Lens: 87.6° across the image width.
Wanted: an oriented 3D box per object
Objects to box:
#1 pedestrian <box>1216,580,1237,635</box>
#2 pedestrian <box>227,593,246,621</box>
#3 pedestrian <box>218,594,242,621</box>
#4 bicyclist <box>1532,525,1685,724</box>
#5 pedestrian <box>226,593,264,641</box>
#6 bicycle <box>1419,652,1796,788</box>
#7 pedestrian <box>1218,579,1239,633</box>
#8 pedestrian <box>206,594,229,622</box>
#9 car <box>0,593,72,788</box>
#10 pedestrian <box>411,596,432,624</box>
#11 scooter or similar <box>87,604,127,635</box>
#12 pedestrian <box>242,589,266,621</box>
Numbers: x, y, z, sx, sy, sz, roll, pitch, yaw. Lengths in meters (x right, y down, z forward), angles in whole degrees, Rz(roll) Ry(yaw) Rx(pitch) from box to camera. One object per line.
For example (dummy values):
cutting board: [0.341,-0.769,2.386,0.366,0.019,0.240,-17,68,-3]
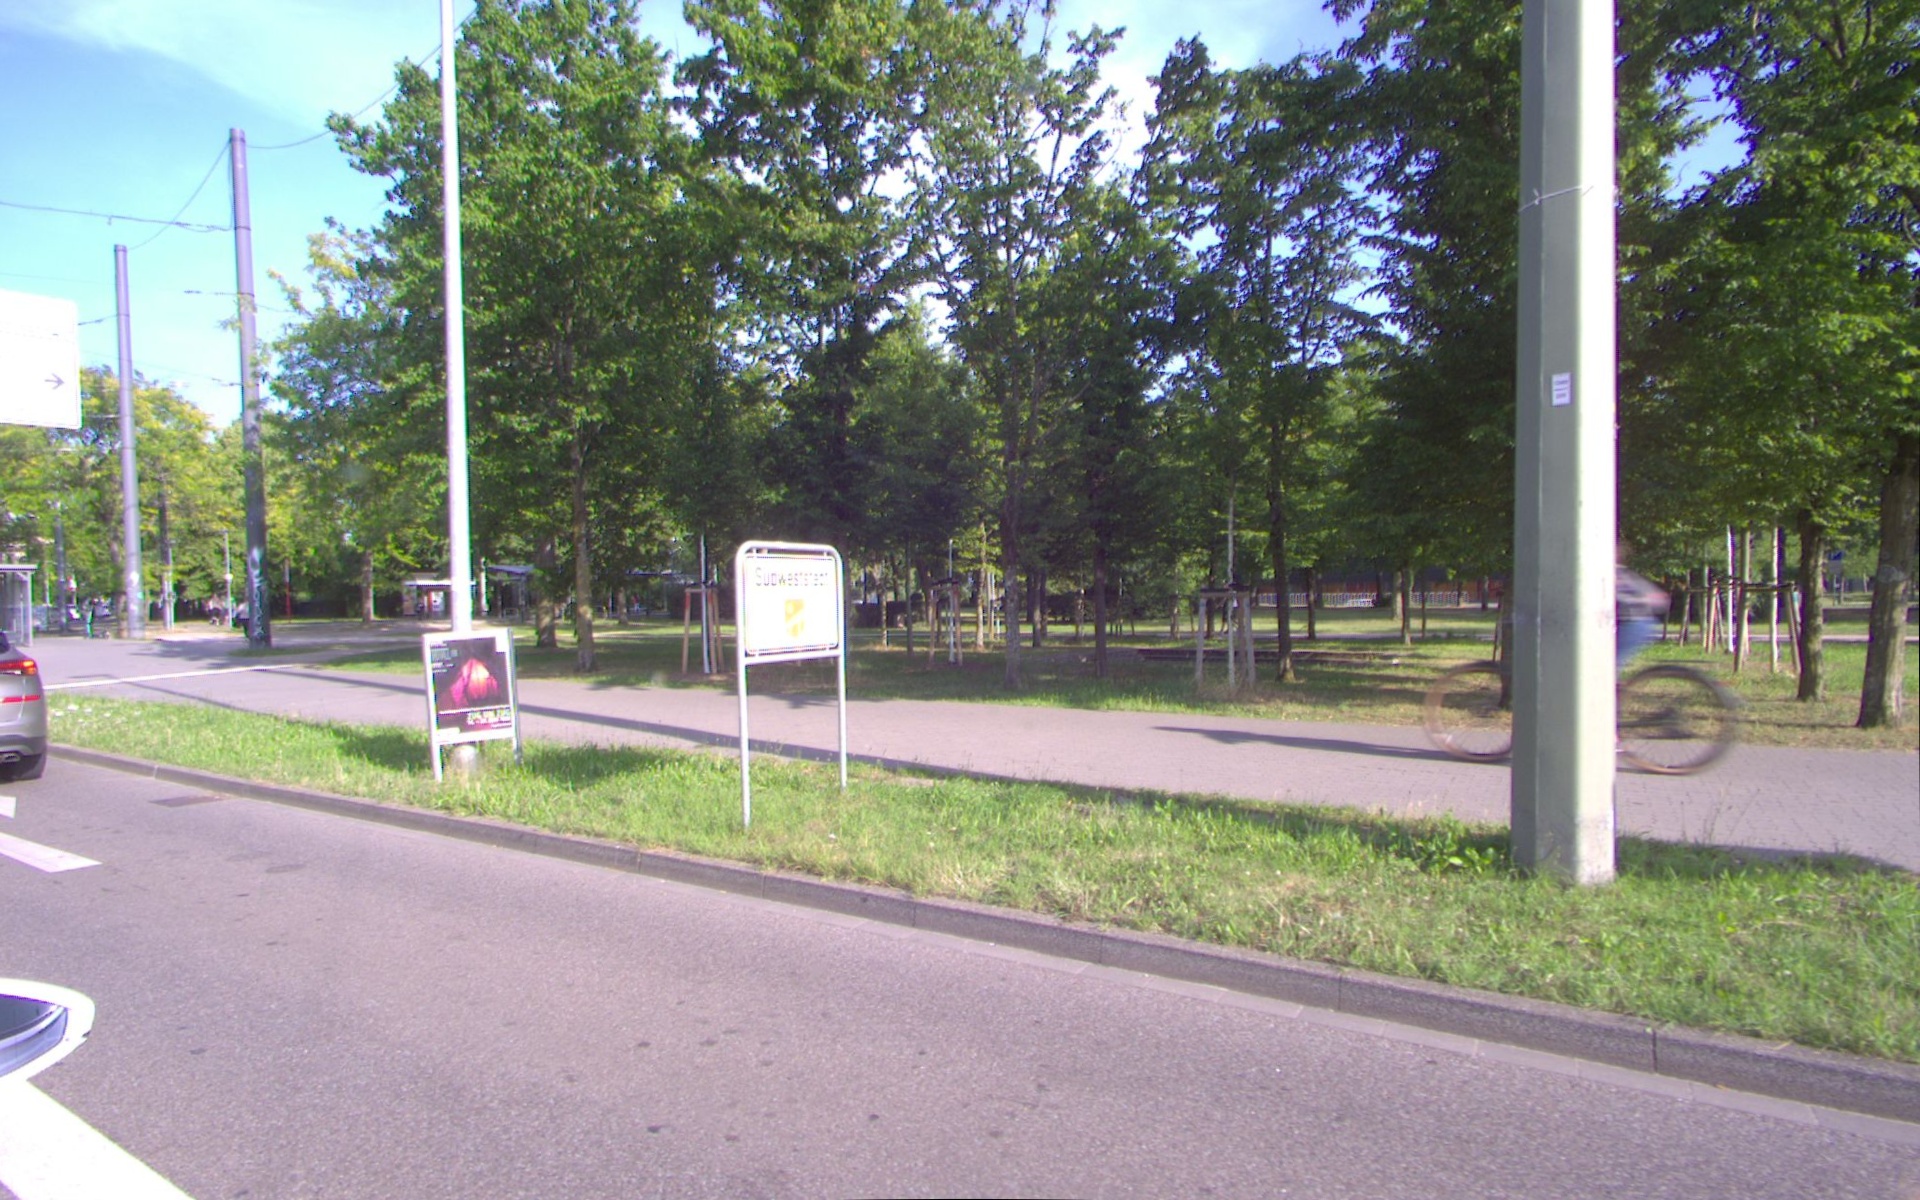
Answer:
pedestrian: [8.998,0.255,33.818,0.617,1.836,0.502,-1,1,6]
pedestrian: [-40.046,0.387,55.419,0.804,1.508,0.696,-2,1,-33]
pedestrian: [-41.150,0.396,56.464,0.688,1.508,0.813,0,1,22]
bicyclist: [4.446,0.157,6.902,0.856,1.279,0.533,0,1,32]
pedestrian: [-25.149,0.597,35.239,0.793,1.659,0.754,-1,1,-7]
bicycle: [4.400,0.787,6.986,2.137,0.767,0.494,-1,2,33]
pedestrian: [9.261,0.193,34.574,0.617,1.836,0.502,-1,1,3]
pedestrian: [-41.086,0.441,55.436,0.687,1.508,0.815,-1,1,-9]
car: [-9.984,0.800,9.136,3.595,1.673,1.880,0,1,32]
pedestrian: [-32.469,0.623,60.348,0.792,1.659,0.832,0,1,38]
scooter or similar: [-31.429,0.727,36.894,1.305,1.132,0.420,-1,1,13]
pedestrian: [-40.307,0.274,57.150,0.826,1.809,0.798,0,1,28]
